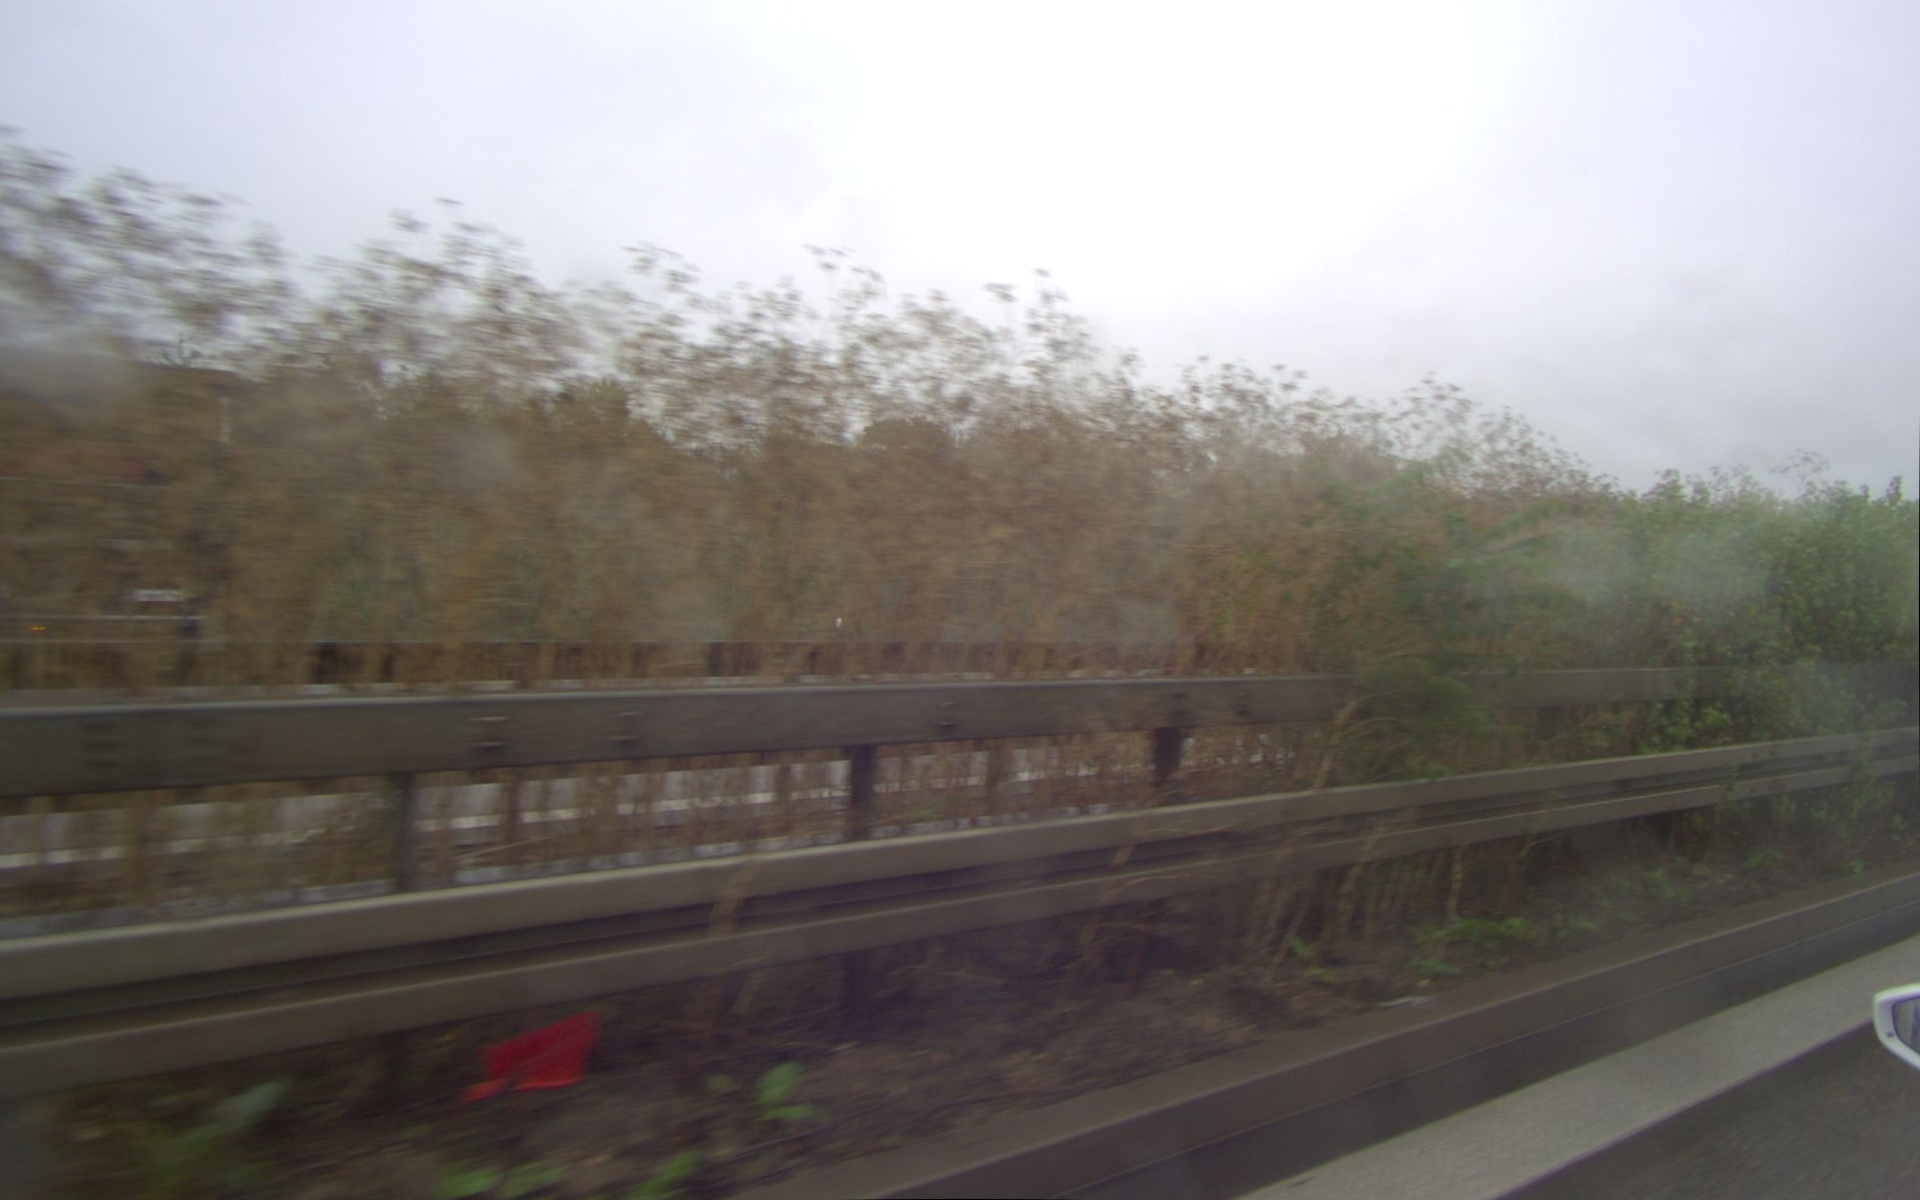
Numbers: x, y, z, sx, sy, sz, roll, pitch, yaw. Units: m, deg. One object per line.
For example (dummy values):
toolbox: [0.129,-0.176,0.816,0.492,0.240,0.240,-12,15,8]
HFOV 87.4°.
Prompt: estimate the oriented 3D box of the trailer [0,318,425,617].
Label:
trailer: [-11.949,-1.520,11.914,9.780,3.309,2.407,1,0,-31]
